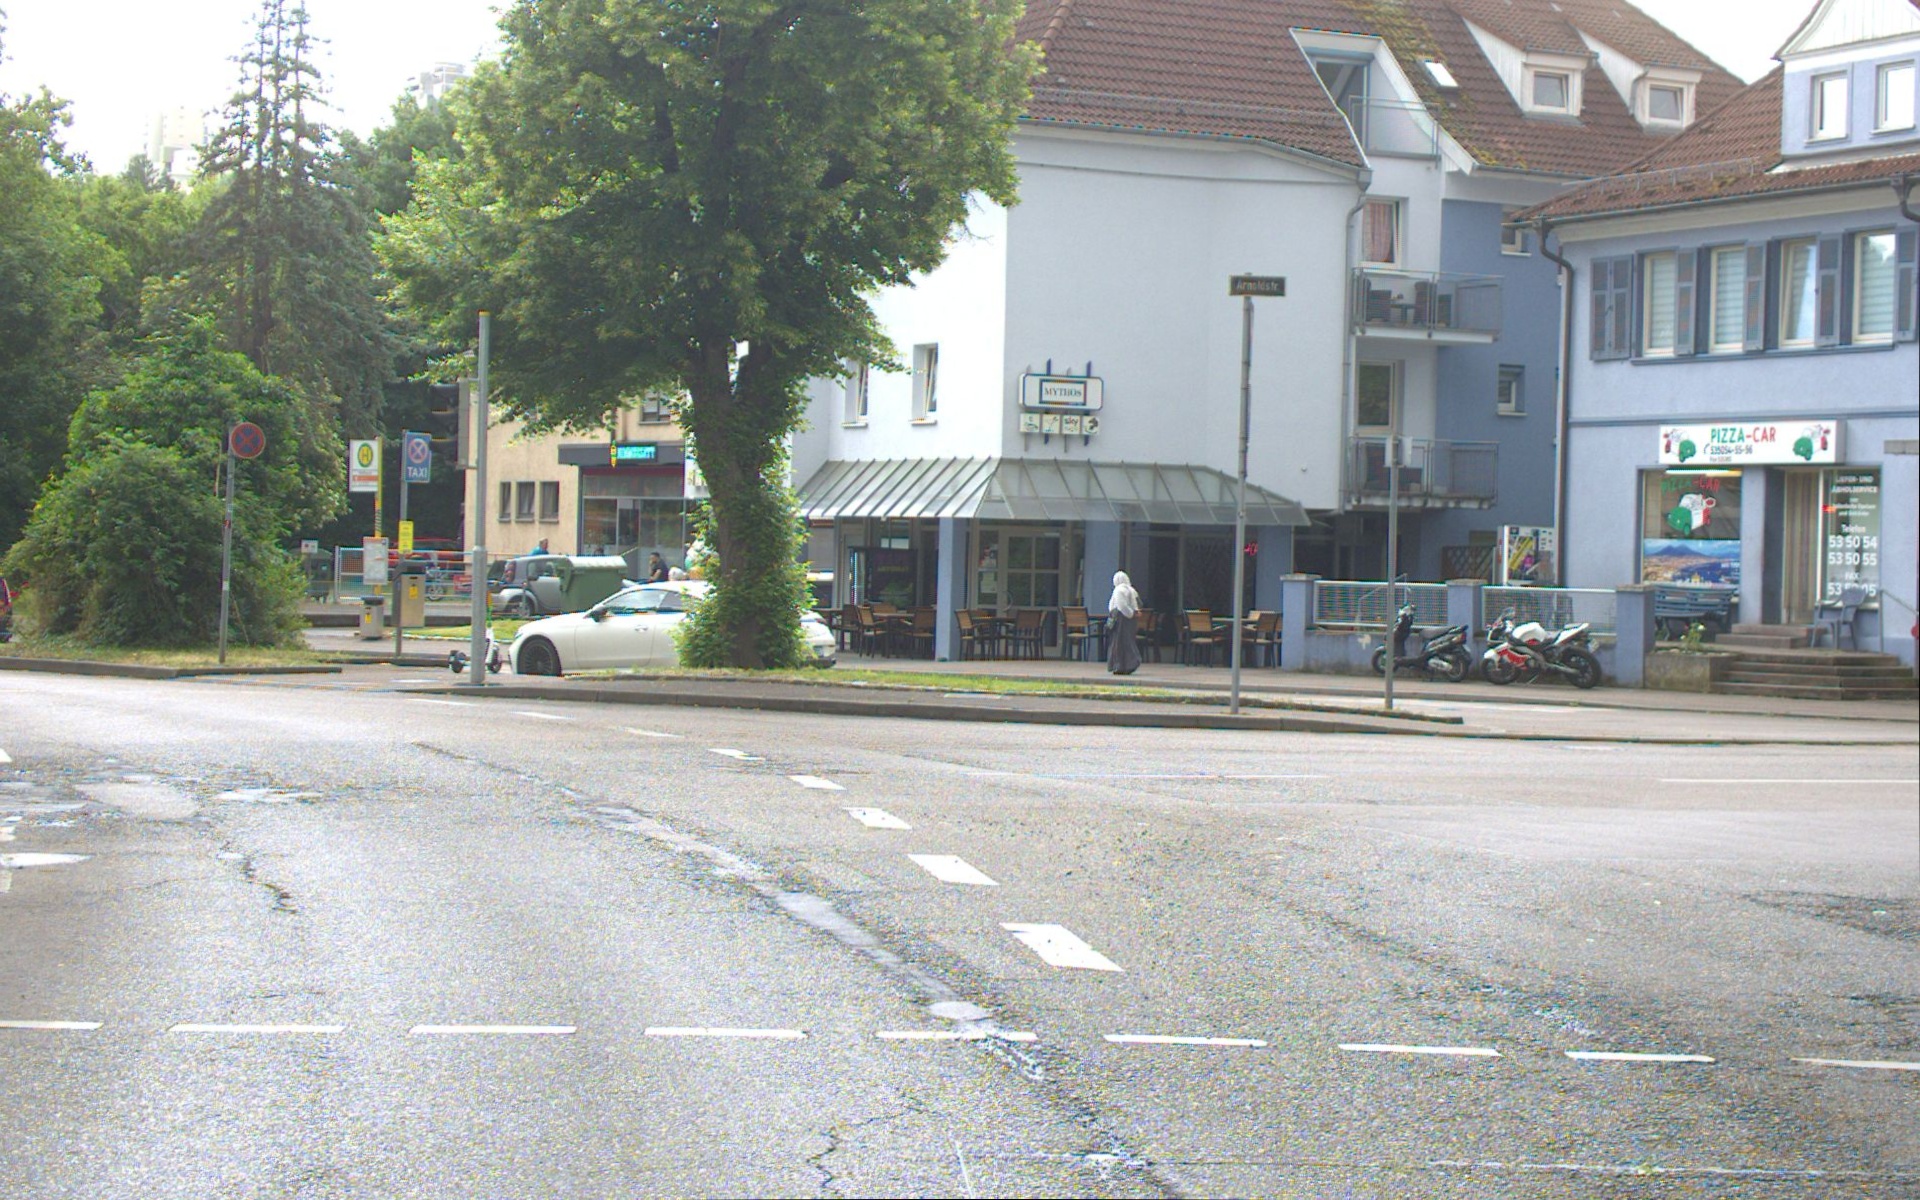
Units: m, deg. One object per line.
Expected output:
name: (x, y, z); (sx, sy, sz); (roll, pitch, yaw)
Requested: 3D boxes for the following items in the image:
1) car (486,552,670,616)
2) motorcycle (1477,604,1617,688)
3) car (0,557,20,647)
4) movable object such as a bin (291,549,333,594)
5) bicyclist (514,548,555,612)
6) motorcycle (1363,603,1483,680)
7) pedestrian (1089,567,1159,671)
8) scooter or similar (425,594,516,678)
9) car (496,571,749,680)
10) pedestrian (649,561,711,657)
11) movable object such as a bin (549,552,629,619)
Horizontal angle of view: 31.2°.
car: (-8.424, -0.359, 75.873); (3.733, 1.340, 1.434); (1, 1, -26)
motorcycle: (8.256, 0.638, 48.380); (1.798, 1.118, 0.693); (2, 1, 38)
car: (-16.514, -0.007, 53.724); (3.590, 1.389, 1.469); (2, 1, 32)
movable object such as a bin: (-16.245, -0.724, 86.169); (0.950, 1.111, 0.383); (1, 1, -21)
bicyclist: (-10.300, -0.484, 83.211); (0.739, 1.536, 0.599); (1, 1, 33)
motorcycle: (6.751, 0.600, 50.159); (1.636, 1.060, 0.693); (2, 1, 44)
pedestrian: (2.456, 0.280, 51.570); (0.768, 1.539, 0.677); (1, 1, 39)
scooter or similar: (-6.060, 0.436, 42.651); (0.417, 1.008, 1.565); (1, 1, 20)
car: (-4.532, 0.321, 46.044); (3.171, 1.350, 1.436); (2, 1, 35)
pedestrian: (-4.545, 0.142, 55.800); (0.707, 1.539, 0.677); (2, 1, 40)
movable object such as a bin: (-7.982, -0.317, 73.976); (1.440, 1.404, 0.967); (1, 1, -27)
